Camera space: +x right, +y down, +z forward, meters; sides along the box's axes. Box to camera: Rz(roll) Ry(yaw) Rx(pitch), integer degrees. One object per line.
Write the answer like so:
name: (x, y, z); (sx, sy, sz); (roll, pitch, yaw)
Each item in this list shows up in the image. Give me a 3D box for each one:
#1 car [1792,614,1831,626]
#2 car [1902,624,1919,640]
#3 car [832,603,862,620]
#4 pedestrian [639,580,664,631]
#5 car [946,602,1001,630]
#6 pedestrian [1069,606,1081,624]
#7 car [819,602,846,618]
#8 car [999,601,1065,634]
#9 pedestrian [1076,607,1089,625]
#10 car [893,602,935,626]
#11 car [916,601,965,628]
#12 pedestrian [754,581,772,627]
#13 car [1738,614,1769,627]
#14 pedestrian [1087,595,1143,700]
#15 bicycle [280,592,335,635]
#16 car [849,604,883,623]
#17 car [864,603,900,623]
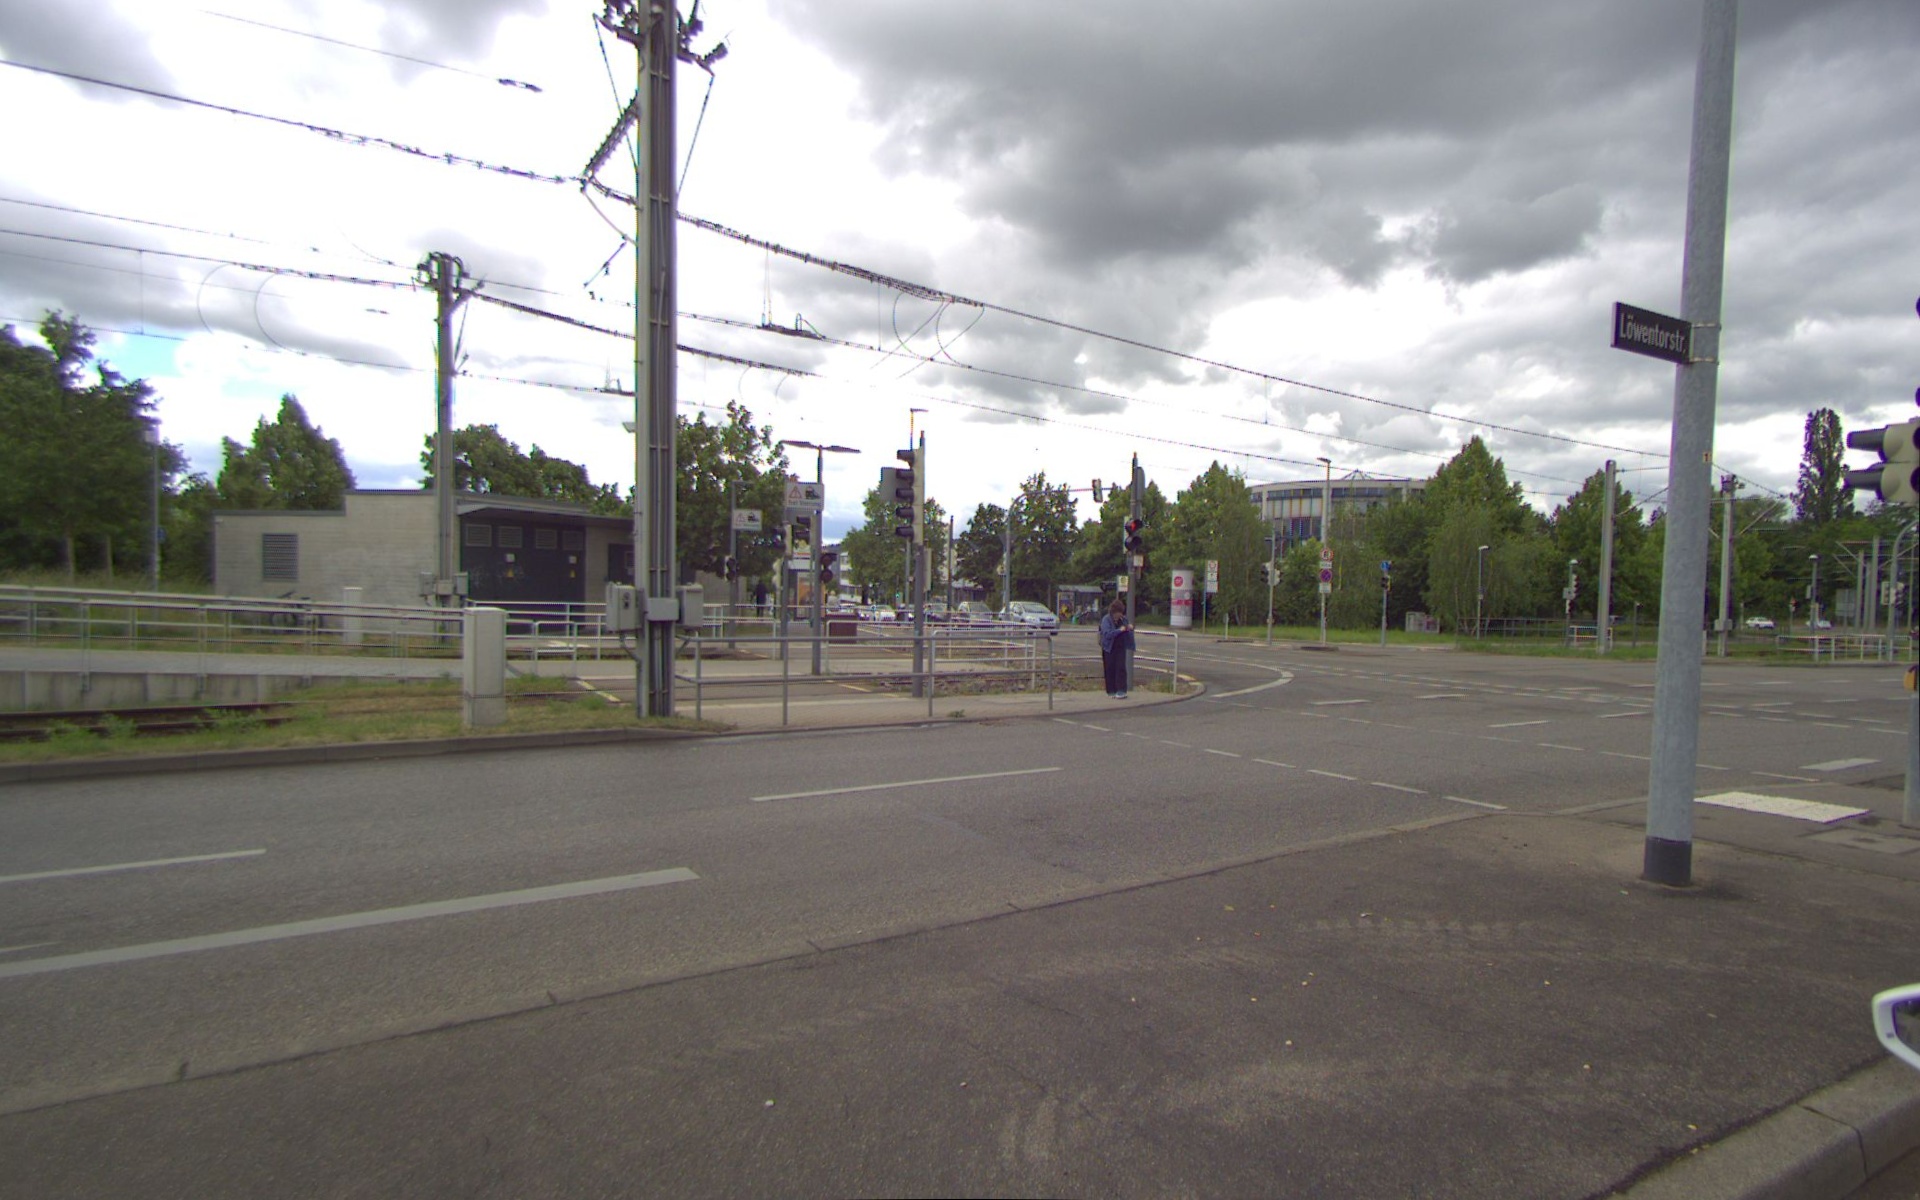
car: (115.869, 2.701, 136.730); (1.750, 1.465, 4.530); (-1, 0, 5)
car: (89.505, 2.978, 93.435); (1.755, 1.462, 4.416); (1, -1, 31)
car: (-9.774, 0.989, 86.717); (1.706, 1.456, 3.731); (1, 0, -20)
pedestrian: (-9.991, 0.176, 32.516); (0.696, 1.628, 0.655); (1, 0, -21)
car: (0.685, 0.847, 53.671); (1.706, 1.456, 3.731); (1, 0, -20)
pedestrian: (8.330, 1.083, 72.844); (0.652, 1.321, 0.780); (1, 0, -16)
car: (-11.937, 0.964, 94.074); (1.706, 1.456, 3.731); (1, 0, -20)
car: (3.297, 0.803, 46.811); (1.706, 1.456, 3.731); (1, 0, -20)
pedestrian: (8.704, 1.136, 71.584); (0.652, 1.322, 0.780); (1, 0, -16)
car: (-3.009, 0.891, 64.933); (1.706, 1.456, 3.731); (1, 0, -20)
car: (-1.155, 0.819, 58.166); (1.706, 1.456, 3.731); (1, 0, -20)
pedestrian: (-8.653, 0.158, 44.134); (0.738, 1.993, 0.795); (1, 0, -9)
car: (104.144, 2.719, 131.877); (1.798, 1.650, 4.427); (1, -1, 17)
pedestrian: (2.433, 0.728, 15.722); (0.701, 1.584, 0.533); (1, 1, -44)
bicycle: (-17.331, 0.351, 26.679); (1.452, 1.101, 0.492); (1, 0, 22)
car: (-7.468, 1.025, 79.808); (1.706, 1.456, 3.991); (1, 0, -20)
car: (-5.818, 0.965, 74.783); (1.706, 1.456, 3.731); (1, 0, -20)
